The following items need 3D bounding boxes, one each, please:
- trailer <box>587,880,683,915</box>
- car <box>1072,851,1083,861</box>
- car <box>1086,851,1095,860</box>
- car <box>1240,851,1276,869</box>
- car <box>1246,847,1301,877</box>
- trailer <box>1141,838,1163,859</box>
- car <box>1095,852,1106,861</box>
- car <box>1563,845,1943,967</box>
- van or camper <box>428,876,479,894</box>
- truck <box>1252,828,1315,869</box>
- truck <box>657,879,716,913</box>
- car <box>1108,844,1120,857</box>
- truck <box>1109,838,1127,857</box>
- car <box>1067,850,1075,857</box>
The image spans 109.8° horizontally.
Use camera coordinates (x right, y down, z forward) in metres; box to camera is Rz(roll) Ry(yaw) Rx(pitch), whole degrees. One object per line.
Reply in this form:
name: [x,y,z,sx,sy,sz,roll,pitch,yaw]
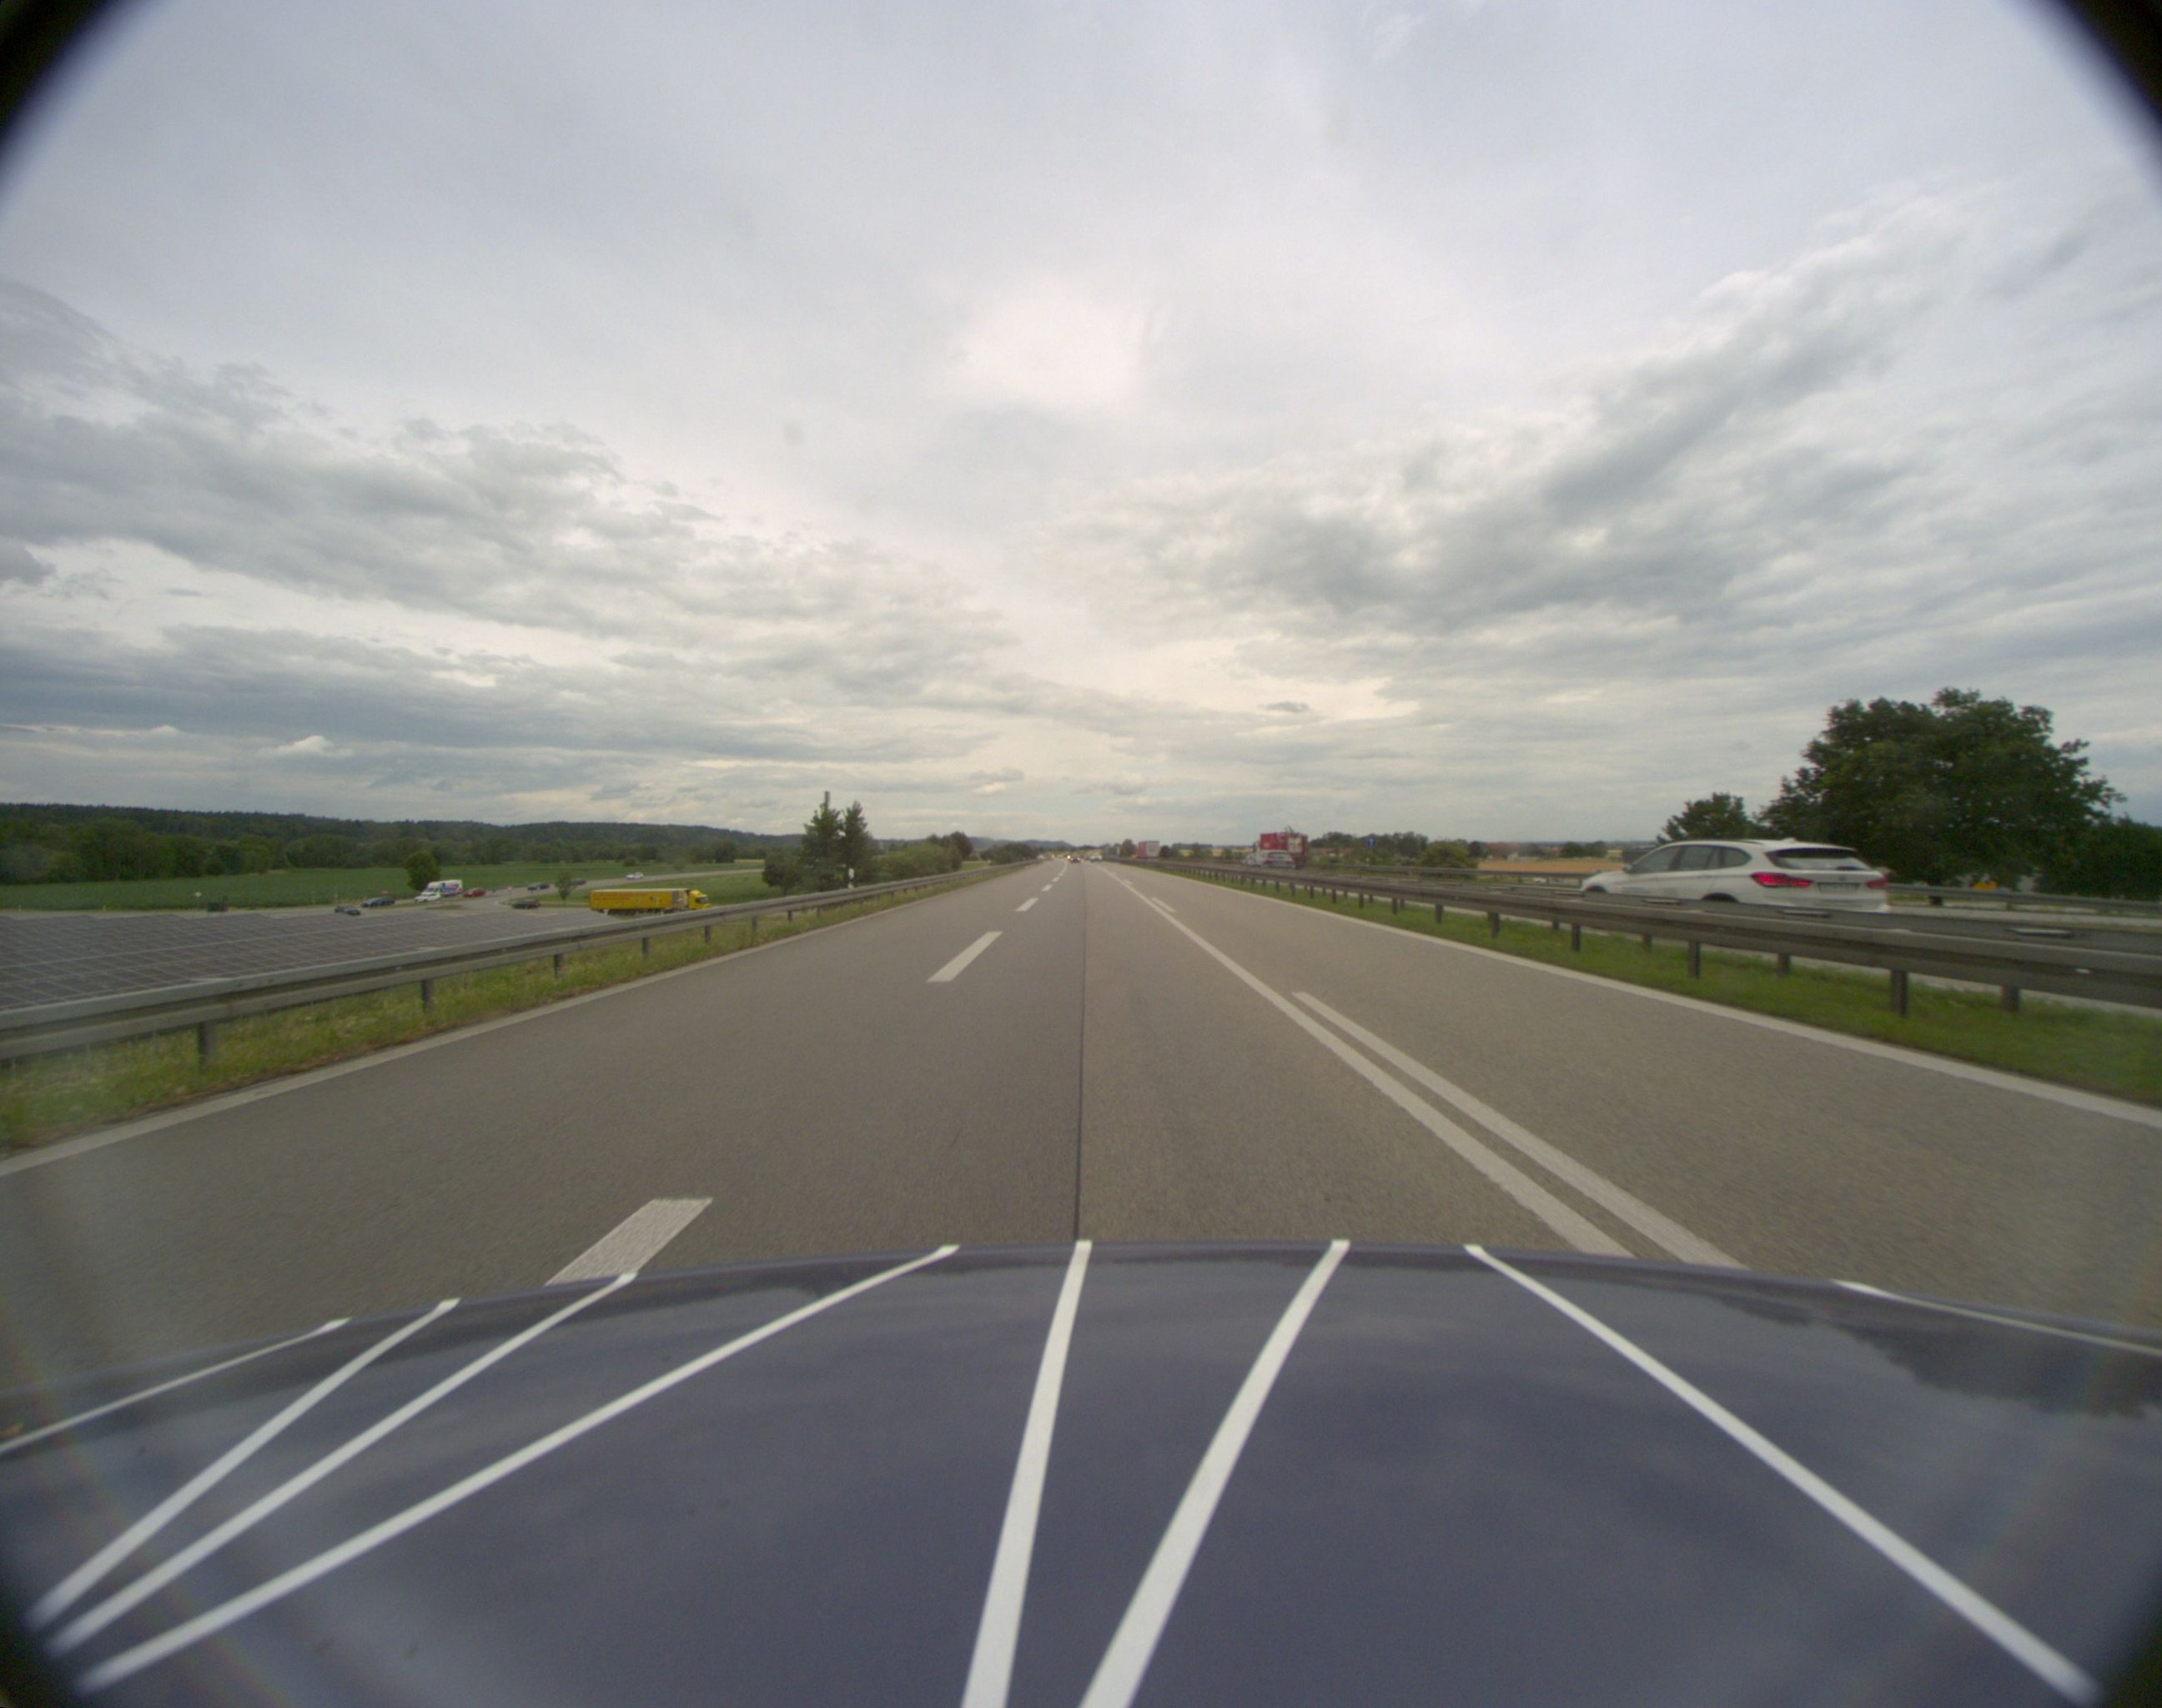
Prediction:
trailer: [-66.464,6.442,113.489,12.303,4.759,3.018,-1,0,-3]
car: [-0.611,0.349,135.280,1.850,1.850,4.000,0,0,-1]
car: [2.224,0.272,176.138,1.998,2.002,4.001,-2,1,4]
car: [14.045,0.444,60.557,1.830,1.338,4.783,0,0,0]
car: [10.733,0.432,42.662,1.896,1.579,4.762,0,0,0]
trailer: [14.043,-1.162,151.348,2.916,3.918,13.974,-2,1,0]
car: [3.551,0.416,136.383,1.850,1.665,4.200,1,0,2]
car: [10.200,0.664,12.219,1.858,1.579,4.816,0,0,0]
van or camper: [-121.448,5.925,147.197,2.798,2.891,7.132,-5,0,13]
truck: [18.745,-0.532,71.090,2.675,3.516,11.076,1,1,-1]
truck: [-59.081,6.303,113.893,7.137,4.759,3.018,-1,0,-3]
car: [8.548,-0.948,199.017,2.545,3.252,7.208,-2,1,-1]
truck: [11.365,-1.943,234.858,4.334,5.528,14.036,-2,1,-1]
car: [-2.512,-0.117,199.961,1.850,1.655,4.001,1,0,2]
